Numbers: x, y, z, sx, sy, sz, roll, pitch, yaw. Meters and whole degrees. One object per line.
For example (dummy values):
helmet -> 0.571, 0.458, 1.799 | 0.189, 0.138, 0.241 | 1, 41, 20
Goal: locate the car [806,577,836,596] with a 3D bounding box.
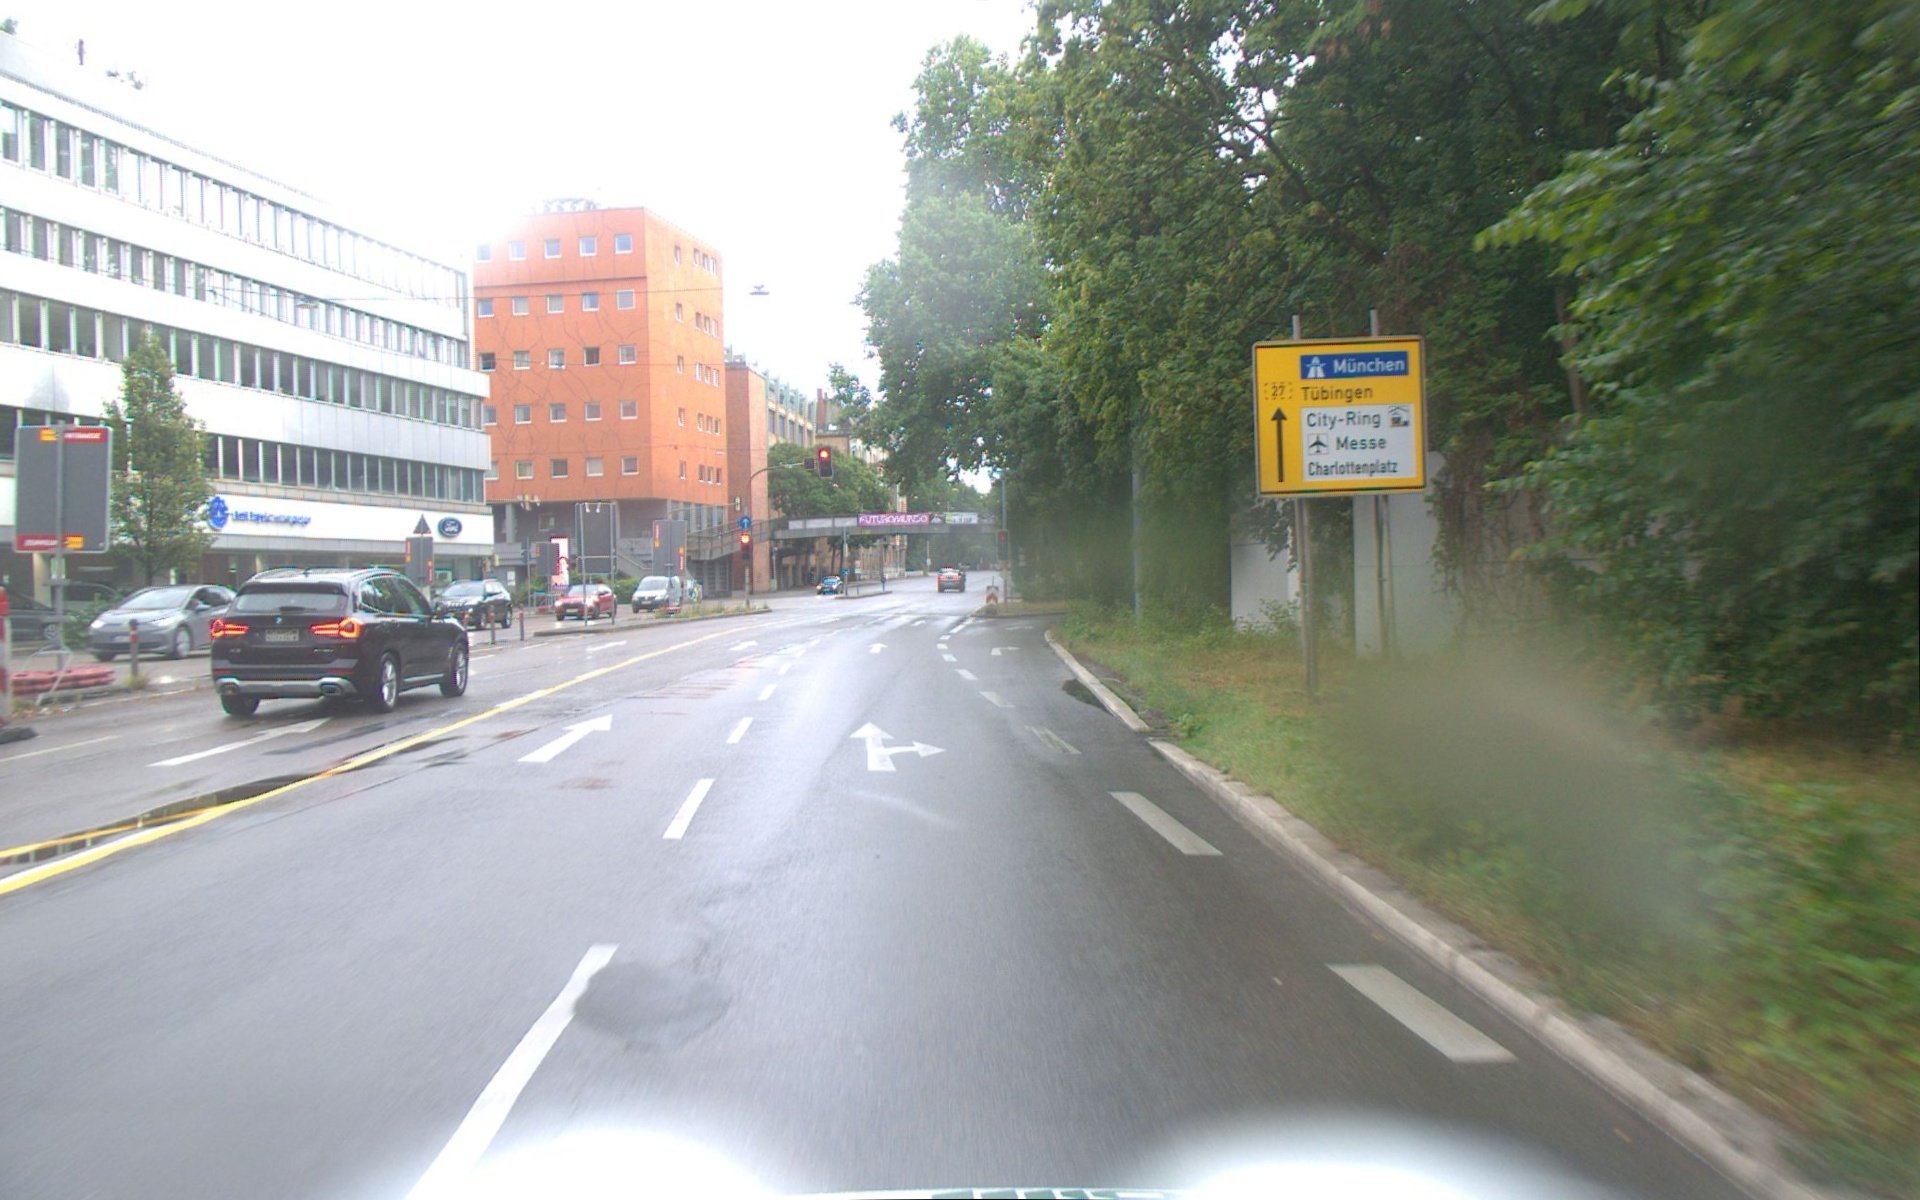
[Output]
car -> -11.403, -1.136, 136.106 | 1.952, 1.545, 4.002 | -1, 1, 2

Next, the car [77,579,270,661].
car -> -16.631, 0.370, 35.231 | 1.770, 1.585, 4.303 | -2, 1, 4

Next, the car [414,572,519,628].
car -> -16.552, -0.027, 55.735 | 1.806, 1.767, 4.607 | -2, 1, 4

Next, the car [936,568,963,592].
car -> -0.854, -1.626, 131.153 | 2.077, 1.765, 4.199 | 1, 2, 0

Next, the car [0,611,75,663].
car -> -31.409, 1.254, 54.386 | 3.940, 1.601, 1.983 | -3, 1, -27

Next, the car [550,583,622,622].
car -> -15.943, 0.091, 70.739 | 1.791, 1.528, 4.375 | -3, 1, 4

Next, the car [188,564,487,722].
car -> -7.395, 0.418, 20.208 | 1.907, 1.625, 4.670 | 1, 2, 0

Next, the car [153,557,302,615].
car -> -29.207, -0.555, 65.983 | 5.141, 2.046, 1.977 | -3, 1, -33

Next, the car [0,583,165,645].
car -> -31.422, 0.485, 59.198 | 4.945, 1.930, 1.970 | -3, 1, -41

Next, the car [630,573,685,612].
car -> -15.019, -0.399, 82.341 | 1.697, 1.817, 4.303 | -3, 1, 3
